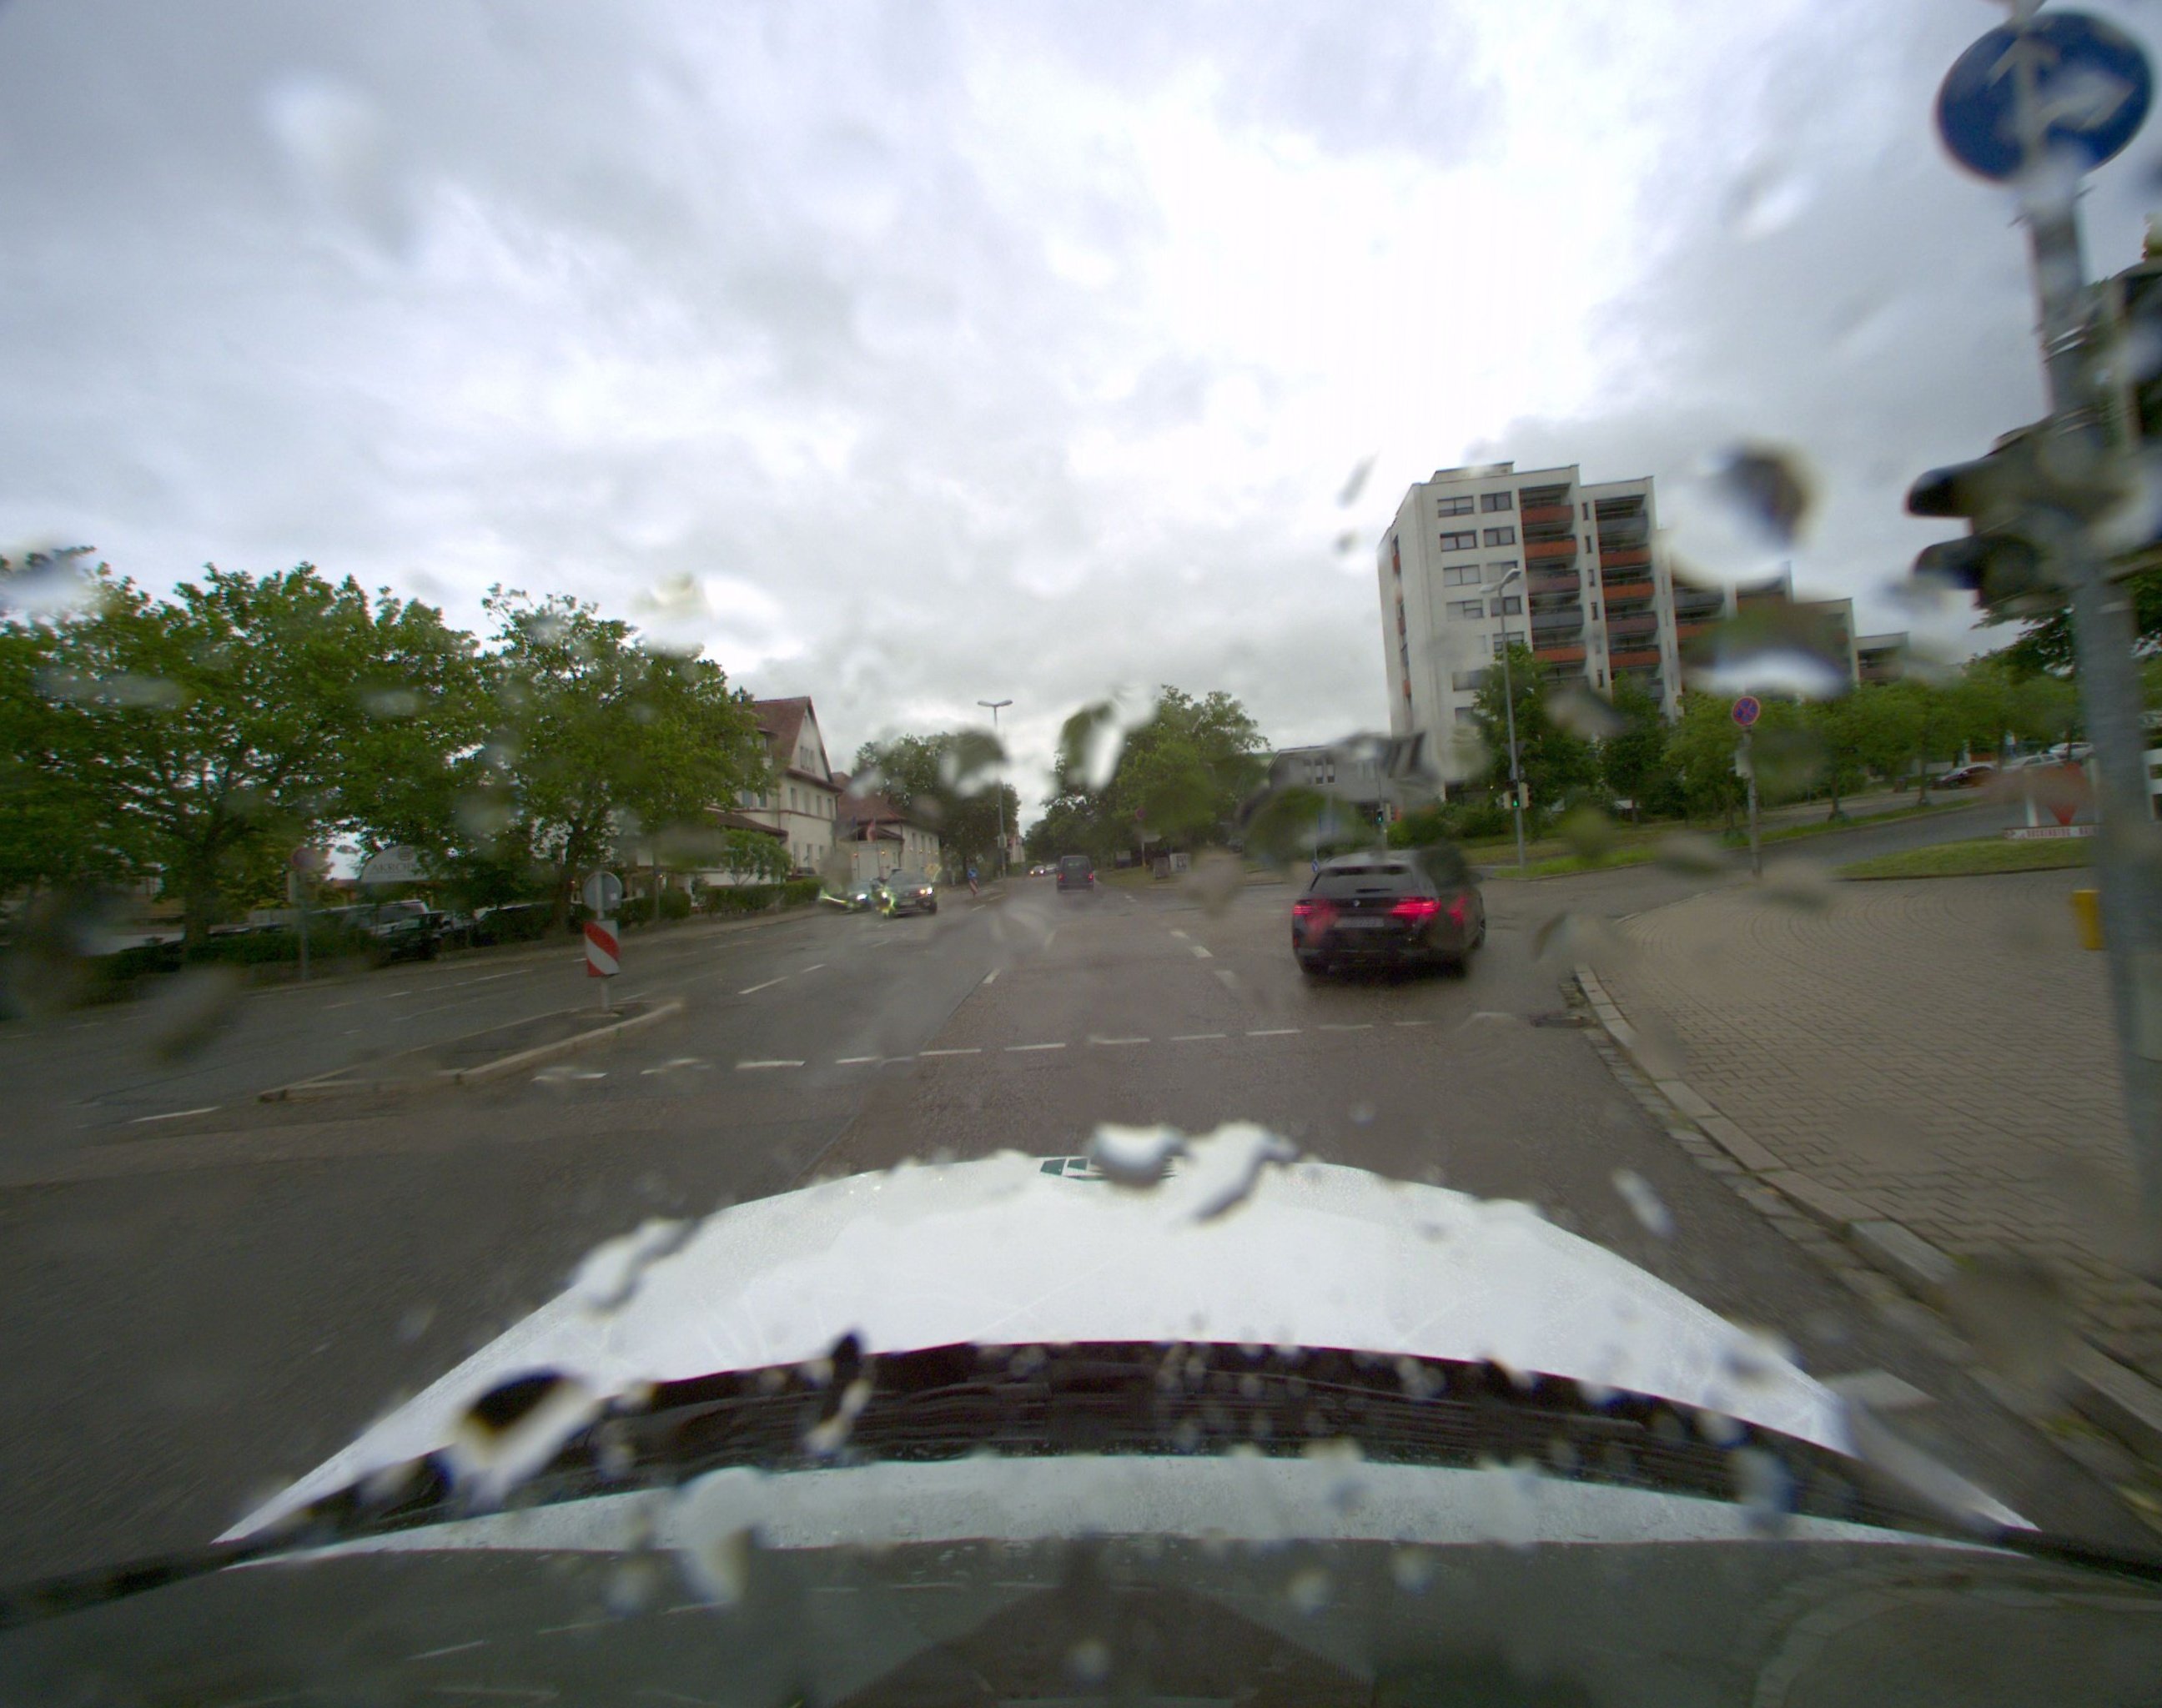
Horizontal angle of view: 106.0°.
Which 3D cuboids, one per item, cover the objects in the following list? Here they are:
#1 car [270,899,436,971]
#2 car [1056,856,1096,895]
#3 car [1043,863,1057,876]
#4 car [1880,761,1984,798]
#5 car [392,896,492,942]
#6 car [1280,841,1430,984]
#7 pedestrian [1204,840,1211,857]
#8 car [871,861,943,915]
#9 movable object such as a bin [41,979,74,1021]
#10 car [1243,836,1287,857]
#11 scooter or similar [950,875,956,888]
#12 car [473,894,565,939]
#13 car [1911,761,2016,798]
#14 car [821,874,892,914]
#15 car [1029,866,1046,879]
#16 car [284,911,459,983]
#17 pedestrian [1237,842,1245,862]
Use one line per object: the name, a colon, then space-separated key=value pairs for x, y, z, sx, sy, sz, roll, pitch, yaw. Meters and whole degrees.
car: x=-24.147 y=2.616 z=27.244 sx=1.802 sy=1.762 sz=4.001 roll=-2 pitch=3 yaw=0
car: x=-0.245 y=1.047 z=40.335 sx=1.807 sy=1.809 sz=3.755 roll=-2 pitch=-1 yaw=-1
car: x=-4.721 y=2.335 z=122.633 sx=1.824 sy=1.671 sz=4.051 roll=-4 pitch=0 yaw=0
car: x=56.626 y=-4.916 z=54.328 sx=1.996 sy=2.014 sz=4.345 roll=-2 pitch=-1 yaw=-13
car: x=-32.449 y=3.271 z=41.497 sx=1.988 sy=2.014 sz=3.997 roll=-2 pitch=-1 yaw=-2
car: x=3.438 y=0.664 z=10.649 sx=1.513 sy=1.534 sz=3.545 roll=-2 pitch=-1 yaw=14
pedestrian: x=13.519 y=-0.623 z=86.898 sx=0.555 sy=1.763 sz=0.727 roll=-2 pitch=-1 yaw=-2
car: x=-5.871 y=1.088 z=28.011 sx=1.897 sy=1.577 sz=4.492 roll=-4 pitch=0 yaw=-6
movable object such as a bin: x=-27.247 y=3.878 z=21.674 sx=0.446 sy=1.043 sz=0.413 roll=-2 pitch=-1 yaw=17
car: x=17.732 y=-0.690 z=78.612 sx=3.962 sy=1.816 sz=2.006 roll=-2 pitch=-1 yaw=10
scooter or similar: x=-11.442 y=2.450 z=72.856 sx=0.388 sy=1.064 sz=1.409 roll=-2 pitch=-1 yaw=-2
car: x=-28.804 y=3.147 z=41.903 sx=1.988 sy=2.014 sz=3.997 roll=-2 pitch=-1 yaw=-2
car: x=59.363 y=-4.995 z=54.887 sx=1.996 sy=2.014 sz=4.345 roll=-2 pitch=-1 yaw=-13
car: x=-9.948 y=1.756 z=36.440 sx=1.903 sy=1.427 sz=4.414 roll=-4 pitch=0 yaw=-1
car: x=-5.665 y=2.432 z=106.671 sx=1.787 sy=1.527 sz=4.209 roll=-4 pitch=0 yaw=0
car: x=-21.782 y=2.794 z=25.249 sx=1.802 sy=1.551 sz=4.001 roll=-2 pitch=3 yaw=0
pedestrian: x=13.410 y=-0.189 z=68.208 sx=0.597 sy=1.617 sz=0.527 roll=-2 pitch=-1 yaw=9
